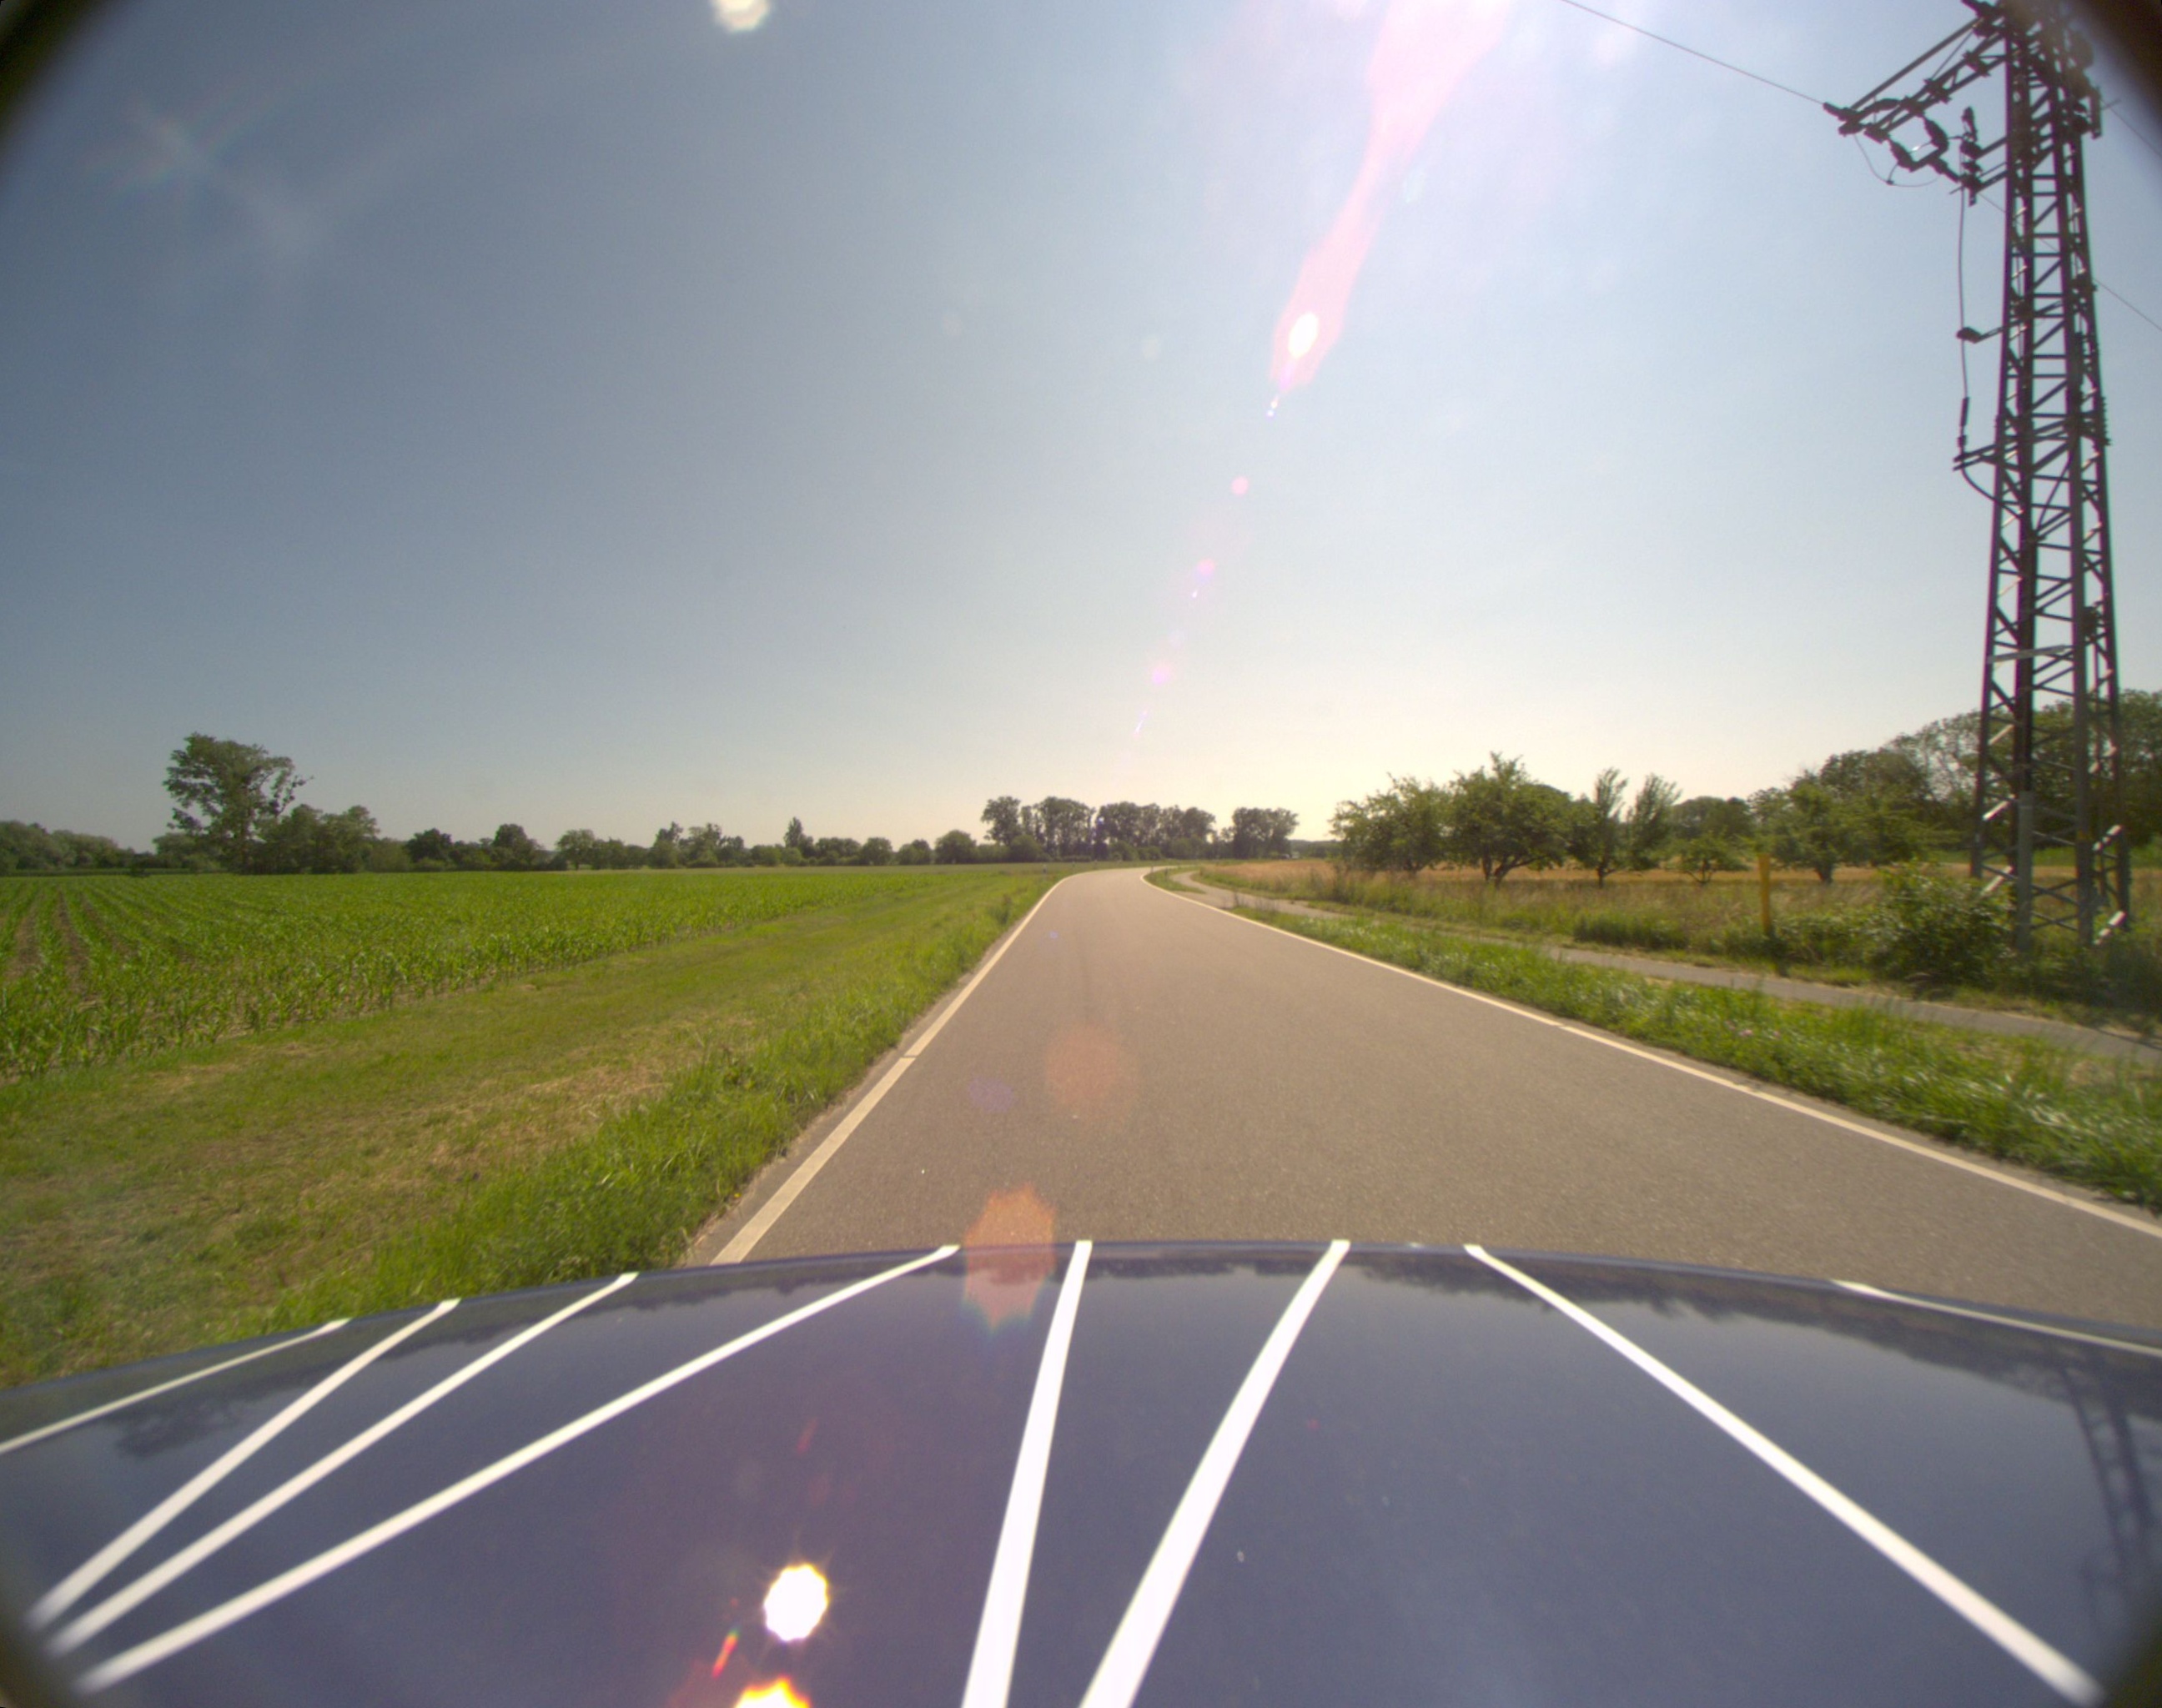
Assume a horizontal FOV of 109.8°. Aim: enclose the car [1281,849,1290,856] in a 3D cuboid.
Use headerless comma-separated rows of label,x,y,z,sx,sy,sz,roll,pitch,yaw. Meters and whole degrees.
car,54.509,-0.425,202.239,1.888,1.705,4.021,1,0,23
